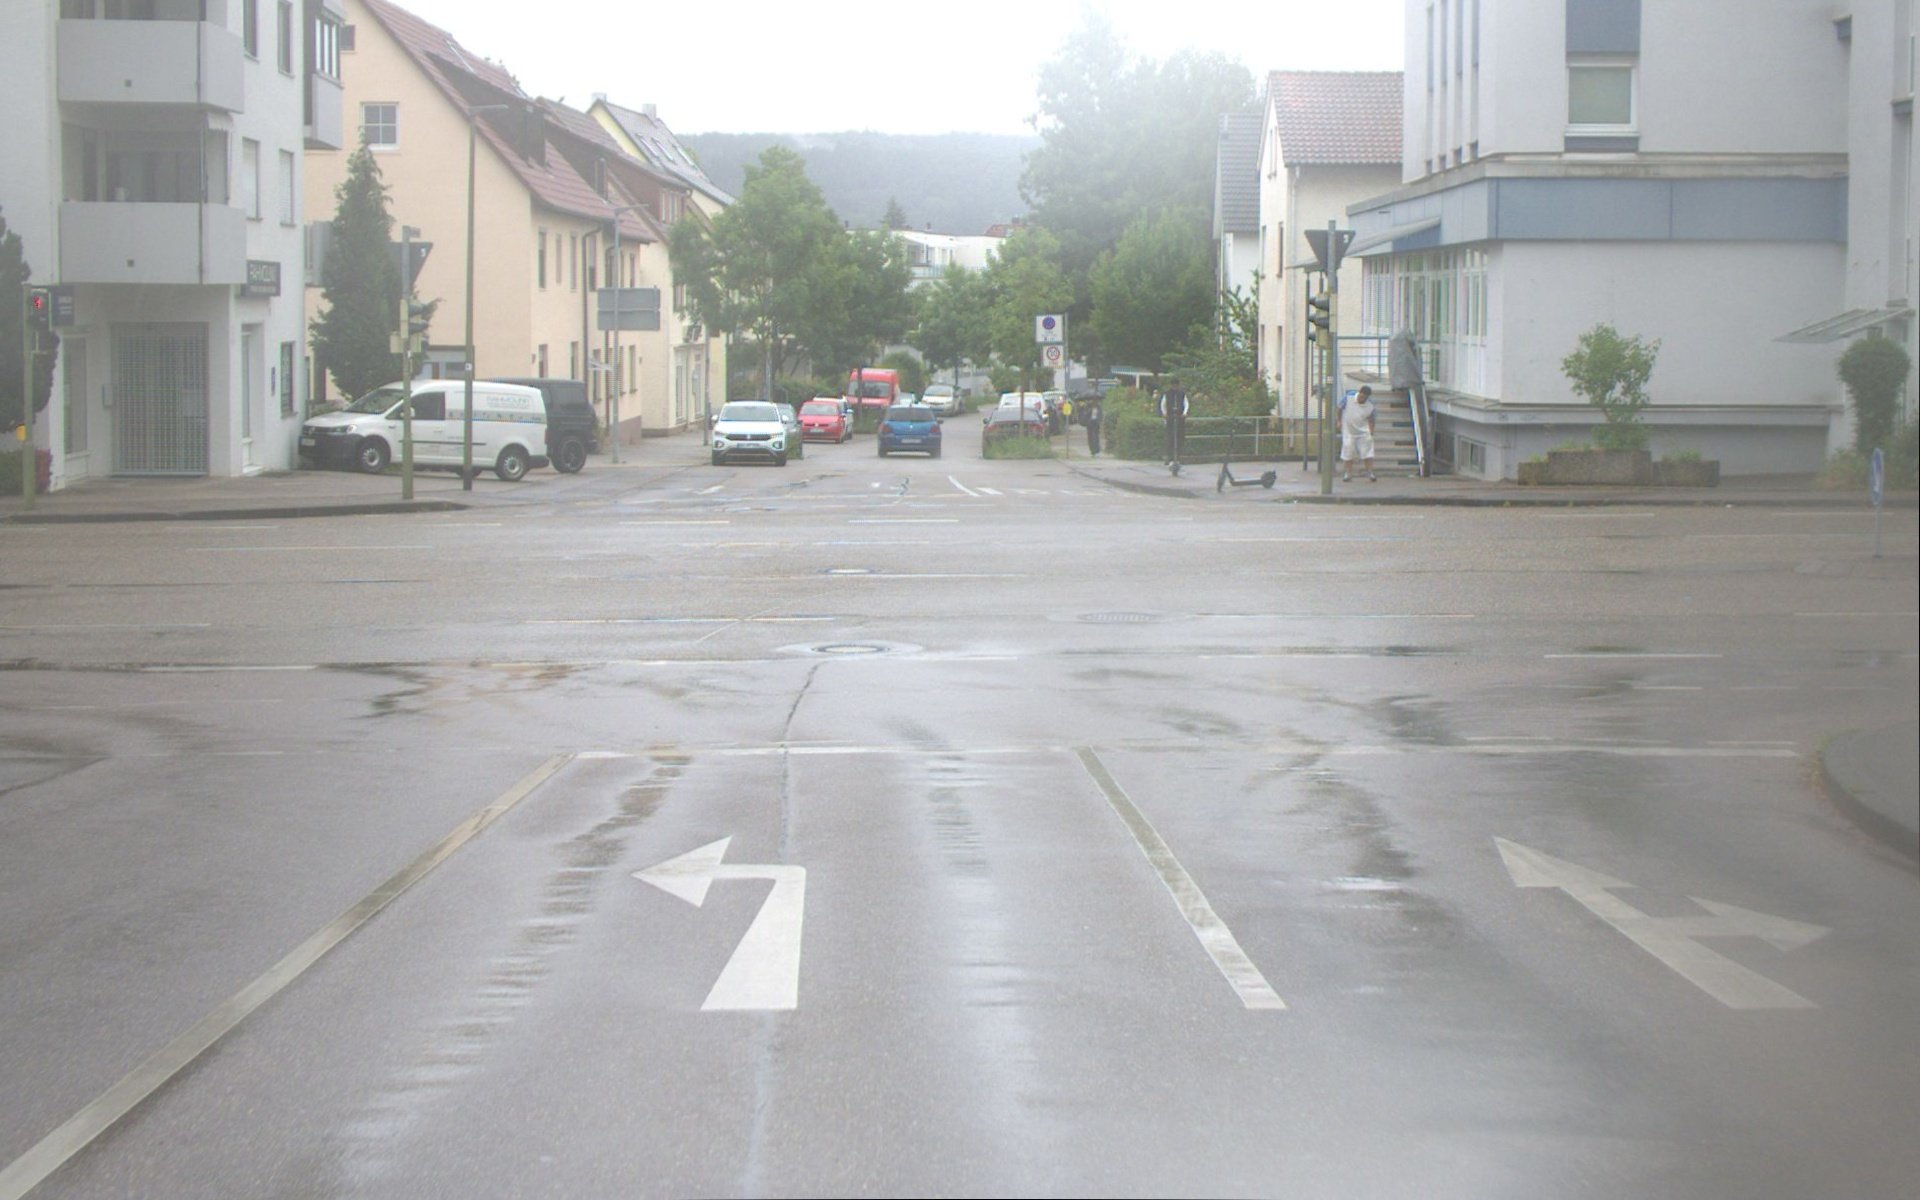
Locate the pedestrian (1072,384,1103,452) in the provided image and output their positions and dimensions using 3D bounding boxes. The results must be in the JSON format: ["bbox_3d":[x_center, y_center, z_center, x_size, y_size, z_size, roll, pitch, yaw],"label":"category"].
[{"bbox_3d":[3.557,-5.071,95.858,0.745,1.842,0.526,2,2,-3],"label":"pedestrian"}]

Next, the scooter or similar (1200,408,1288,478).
[{"bbox_3d":[4.543,-2.519,55.095,1.268,1.077,0.877,-1,3,-4],"label":"scooter or similar"}]

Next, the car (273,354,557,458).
[{"bbox_3d":[-10.119,-3.631,64.054,4.830,1.829,2.000,-4,4,-38],"label":"car"}]

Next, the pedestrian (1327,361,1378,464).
[{"bbox_3d":[6.421,-3.059,56.203,0.647,1.641,0.526,2,2,-6],"label":"pedestrian"}]

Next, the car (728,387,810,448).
[{"bbox_3d":[-5.301,-5.087,95.780,1.993,1.620,4.192,-1,3,0],"label":"car"}]

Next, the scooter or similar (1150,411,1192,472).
[{"bbox_3d":[4.172,-3.136,68.006,0.757,1.167,1.314,-1,3,1],"label":"scooter or similar"}]

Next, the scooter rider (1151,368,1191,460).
[{"bbox_3d":[4.169,-3.686,67.952,0.752,1.789,0.673,-1,3,2],"label":"scooter rider"}]

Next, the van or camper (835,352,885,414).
[{"bbox_3d":[-4.164,-9.020,143.317,1.901,2.504,4.240,-1,3,0],"label":"van or camper"}]

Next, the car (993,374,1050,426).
[{"bbox_3d":[2.134,-6.969,119.906,1.901,1.739,4.192,-1,3,0],"label":"car"}]

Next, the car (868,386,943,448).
[{"bbox_3d":[-1.569,-5.191,97.243,1.993,1.678,4.001,-1,4,-2],"label":"car"}]

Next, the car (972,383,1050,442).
[{"bbox_3d":[1.430,-5.348,97.867,2.146,1.583,4.129,-1,3,0],"label":"car"}]

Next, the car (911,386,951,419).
[{"bbox_3d":[-1.417,-9.830,170.963,1.901,1.553,4.192,-1,3,0],"label":"car"}]

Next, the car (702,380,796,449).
[{"bbox_3d":[-5.157,-4.569,84.385,1.993,1.620,4.192,-1,3,0],"label":"car"}]

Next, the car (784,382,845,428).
[{"bbox_3d":[-5.095,-6.844,120.789,1.901,1.553,4.192,-1,3,0],"label":"car"}]
